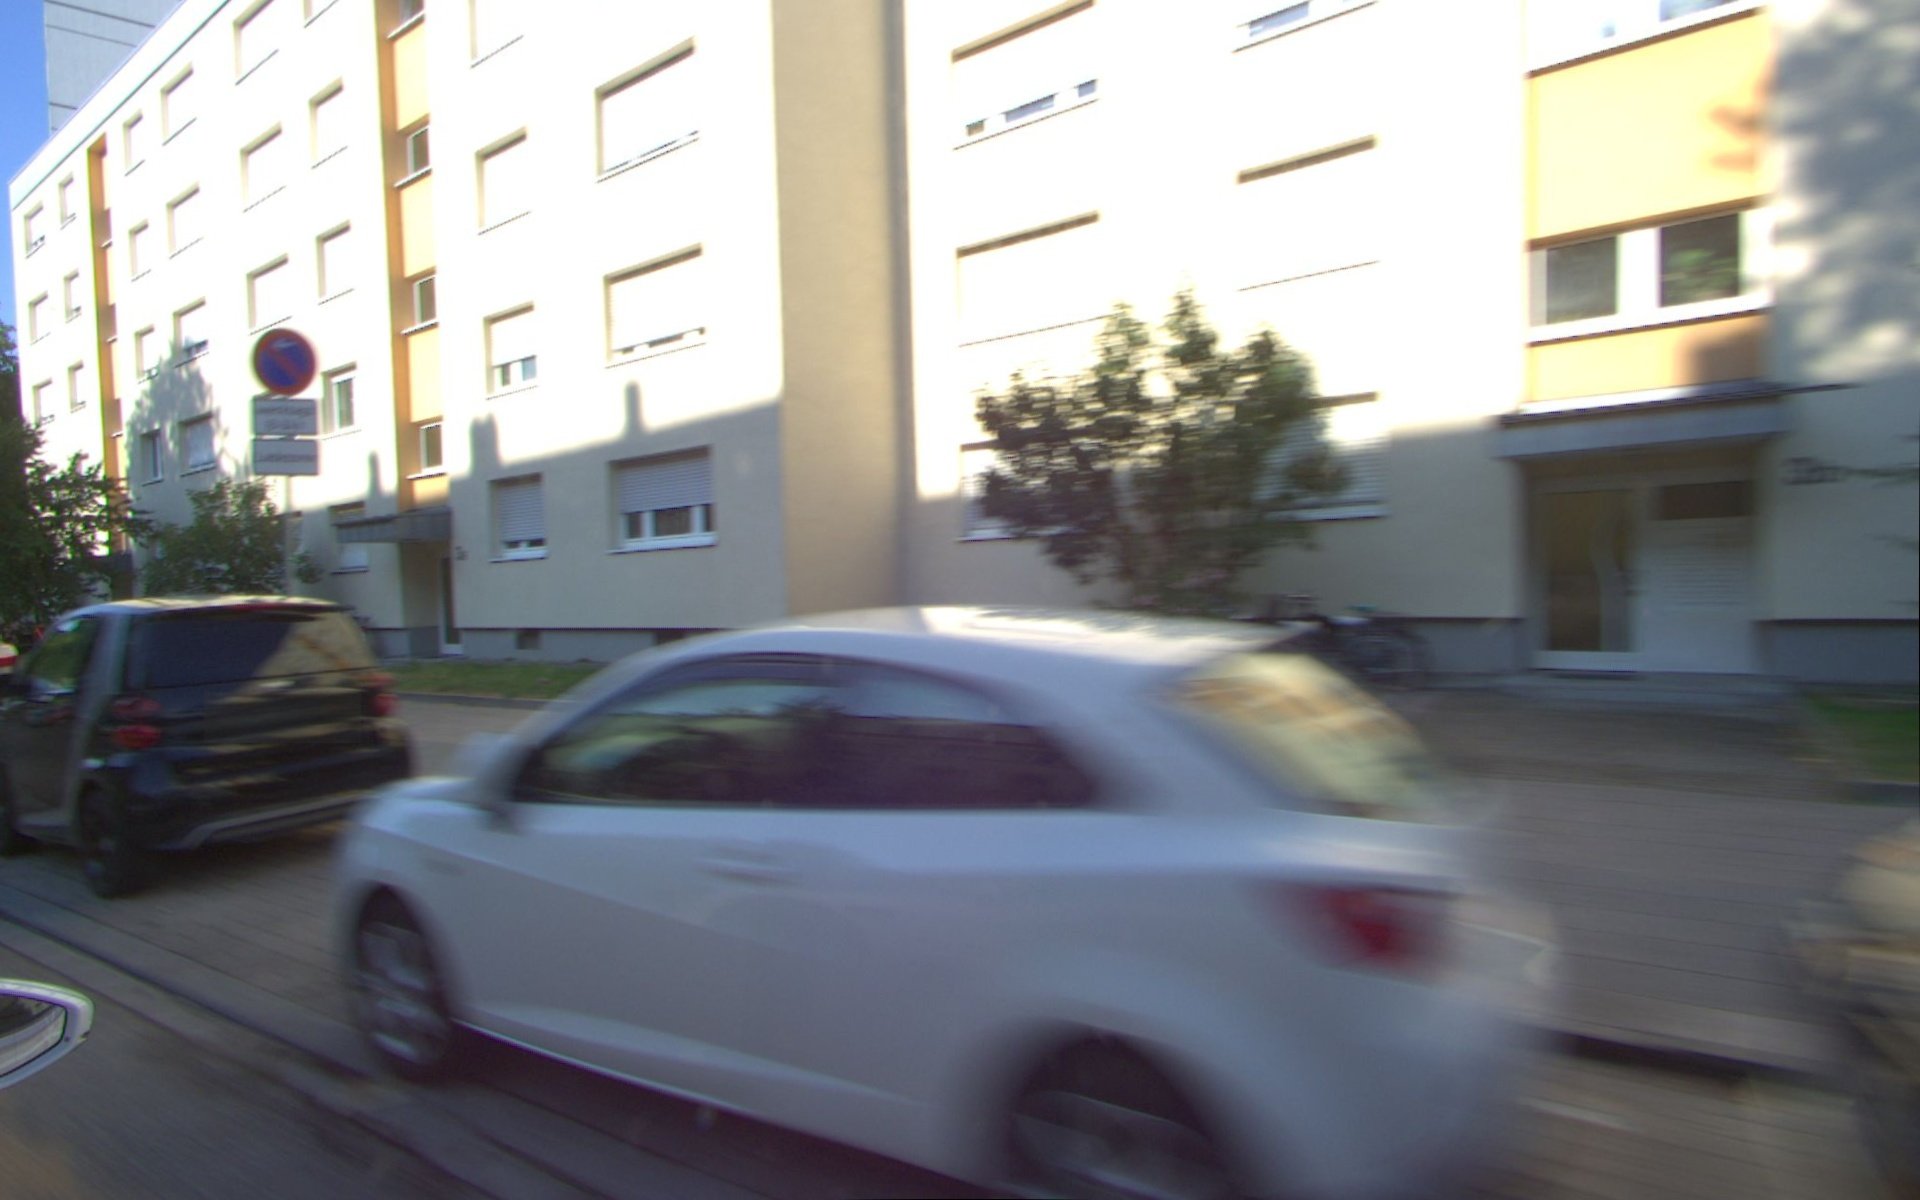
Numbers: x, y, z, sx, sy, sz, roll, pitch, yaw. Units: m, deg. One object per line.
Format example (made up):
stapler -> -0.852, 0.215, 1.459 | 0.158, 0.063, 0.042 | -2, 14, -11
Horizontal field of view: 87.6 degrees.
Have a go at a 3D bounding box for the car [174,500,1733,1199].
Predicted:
car -> -0.546, 0.659, 3.241 | 4.657, 1.434, 1.676 | -2, -1, 32

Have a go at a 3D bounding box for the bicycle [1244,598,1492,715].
bicycle -> 4.277, 0.551, 10.621 | 2.358, 1.096, 0.598 | 1, 2, 32

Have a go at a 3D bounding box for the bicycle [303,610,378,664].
bicycle -> -12.318, 0.744, 19.898 | 1.808, 1.034, 0.610 | -2, -1, 35

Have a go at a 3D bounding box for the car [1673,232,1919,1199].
car -> 3.595, 0.350, 0.870 | 4.698, 1.775, 2.018 | -1, 5, 32

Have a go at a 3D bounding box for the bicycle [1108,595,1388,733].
bicycle -> 2.543, 0.516, 9.038 | 2.358, 1.096, 0.598 | 1, 2, 32

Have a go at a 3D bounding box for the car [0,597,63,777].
car -> -11.043, 0.841, 10.054 | 4.280, 1.673, 1.893 | -1, 1, 32

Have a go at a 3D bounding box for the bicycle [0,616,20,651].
bicycle -> -27.844, 0.954, 28.812 | 2.197, 0.937, 0.635 | 1, 0, 32

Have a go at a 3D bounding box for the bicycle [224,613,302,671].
bicycle -> -13.051, 0.789, 18.737 | 1.808, 1.034, 0.610 | -2, -1, 35

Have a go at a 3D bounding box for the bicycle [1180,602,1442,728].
bicycle -> 3.407, 0.585, 9.860 | 2.358, 1.096, 0.598 | 1, 2, 32

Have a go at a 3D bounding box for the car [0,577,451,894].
car -> -5.250, 0.701, 6.523 | 3.984, 1.514, 1.602 | -2, 0, 32

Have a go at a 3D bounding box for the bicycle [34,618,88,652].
bicycle -> -27.302, 1.052, 30.398 | 2.197, 0.937, 0.635 | 1, 0, 32

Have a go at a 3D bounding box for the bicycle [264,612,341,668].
bicycle -> -12.676, 0.779, 19.296 | 1.808, 1.034, 0.610 | -2, -1, 35

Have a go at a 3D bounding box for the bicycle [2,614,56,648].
bicycle -> -27.672, 0.908, 29.760 | 2.197, 0.937, 0.635 | 1, 0, 32
